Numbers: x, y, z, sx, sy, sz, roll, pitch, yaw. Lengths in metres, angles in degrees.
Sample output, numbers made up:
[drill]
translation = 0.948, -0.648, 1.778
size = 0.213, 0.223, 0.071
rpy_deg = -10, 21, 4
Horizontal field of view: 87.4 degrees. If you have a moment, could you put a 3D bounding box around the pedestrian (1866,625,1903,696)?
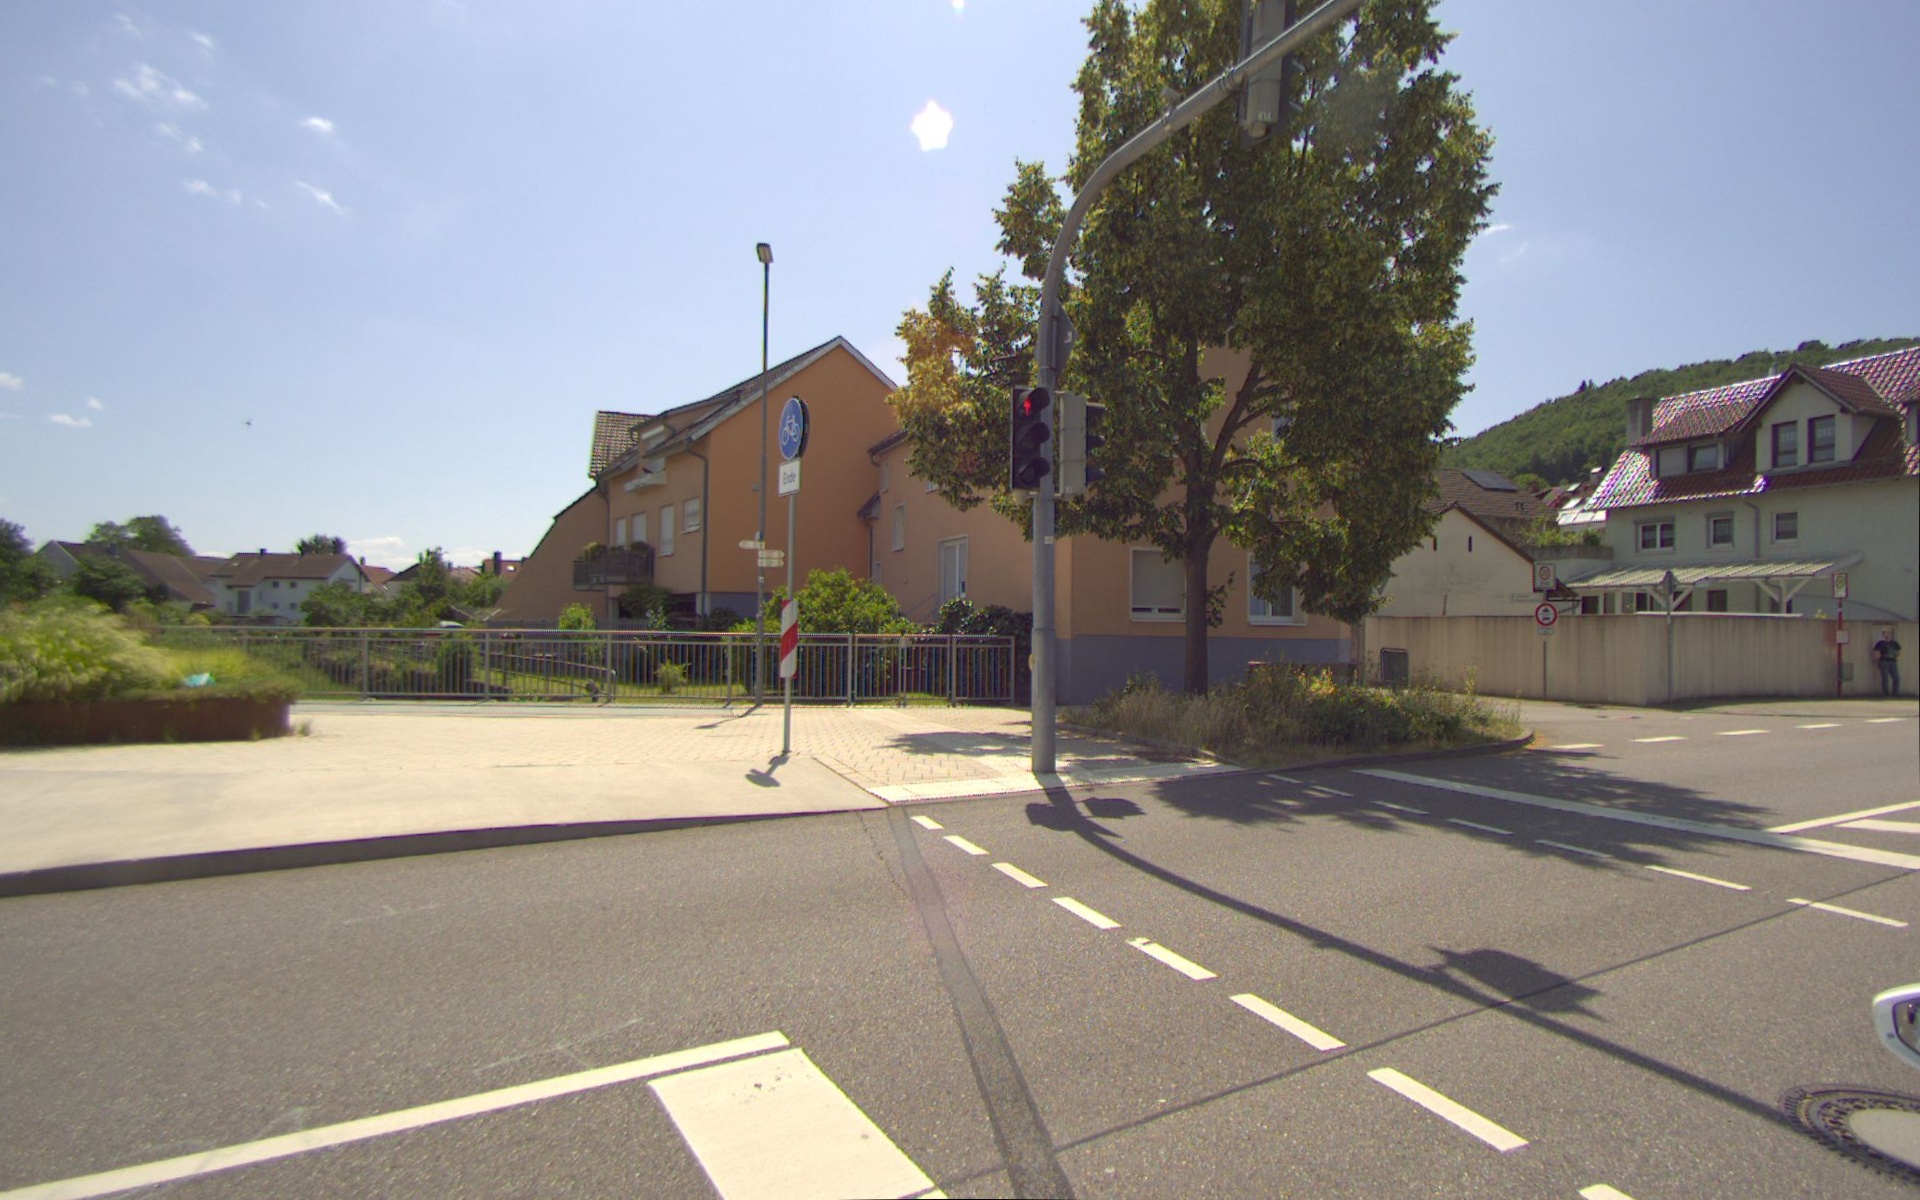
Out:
[pedestrian]
translation = 23.408, 1.527, 25.425
size = 0.547, 1.788, 0.434
rpy_deg = 1, -1, -9
